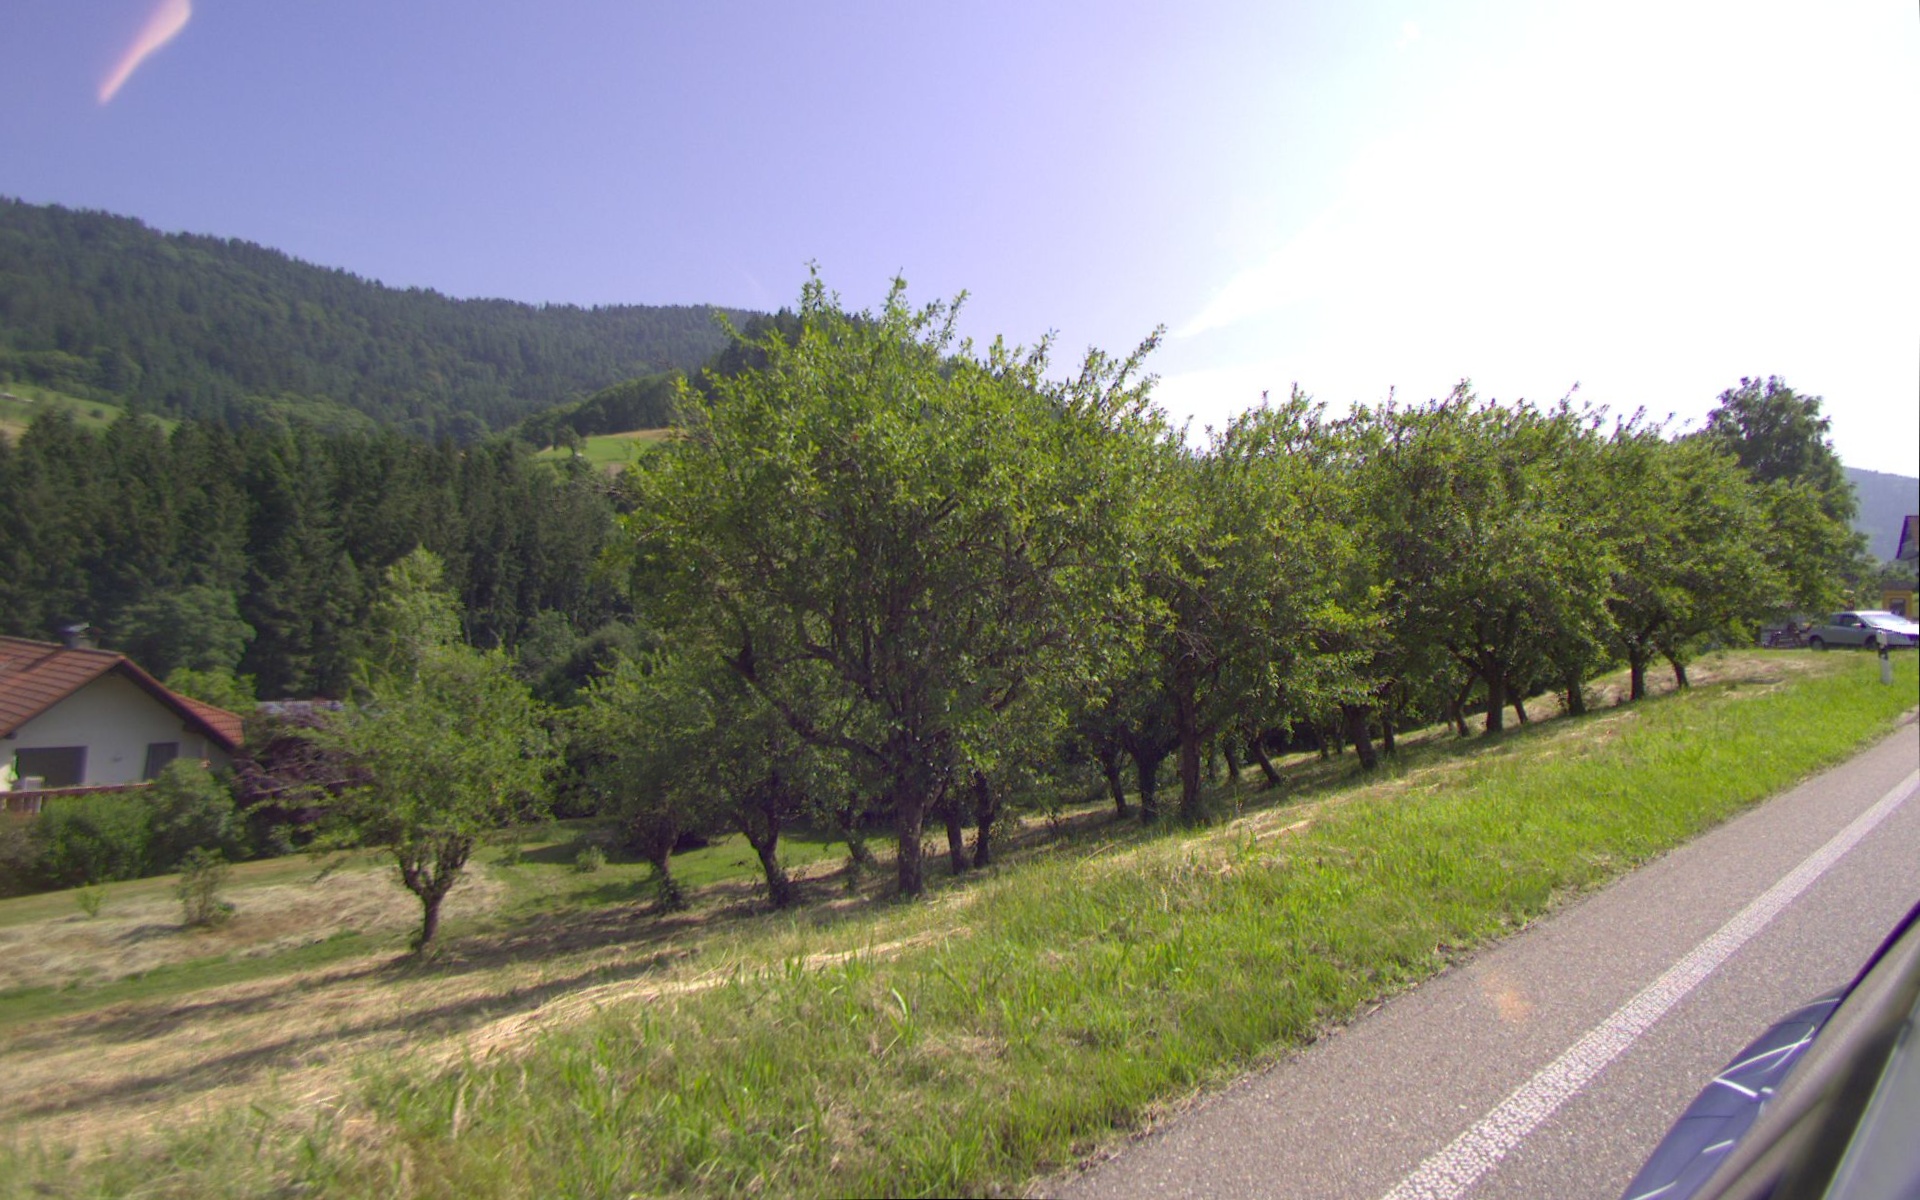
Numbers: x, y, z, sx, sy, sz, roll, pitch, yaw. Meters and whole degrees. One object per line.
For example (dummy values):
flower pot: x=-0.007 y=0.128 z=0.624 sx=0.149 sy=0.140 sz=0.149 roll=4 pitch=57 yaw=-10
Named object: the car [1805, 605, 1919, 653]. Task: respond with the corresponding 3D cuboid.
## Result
car: x=32.464 y=1.028 z=35.585 sx=1.871 sy=1.591 sz=4.455 roll=-1 pitch=-2 yaw=4
